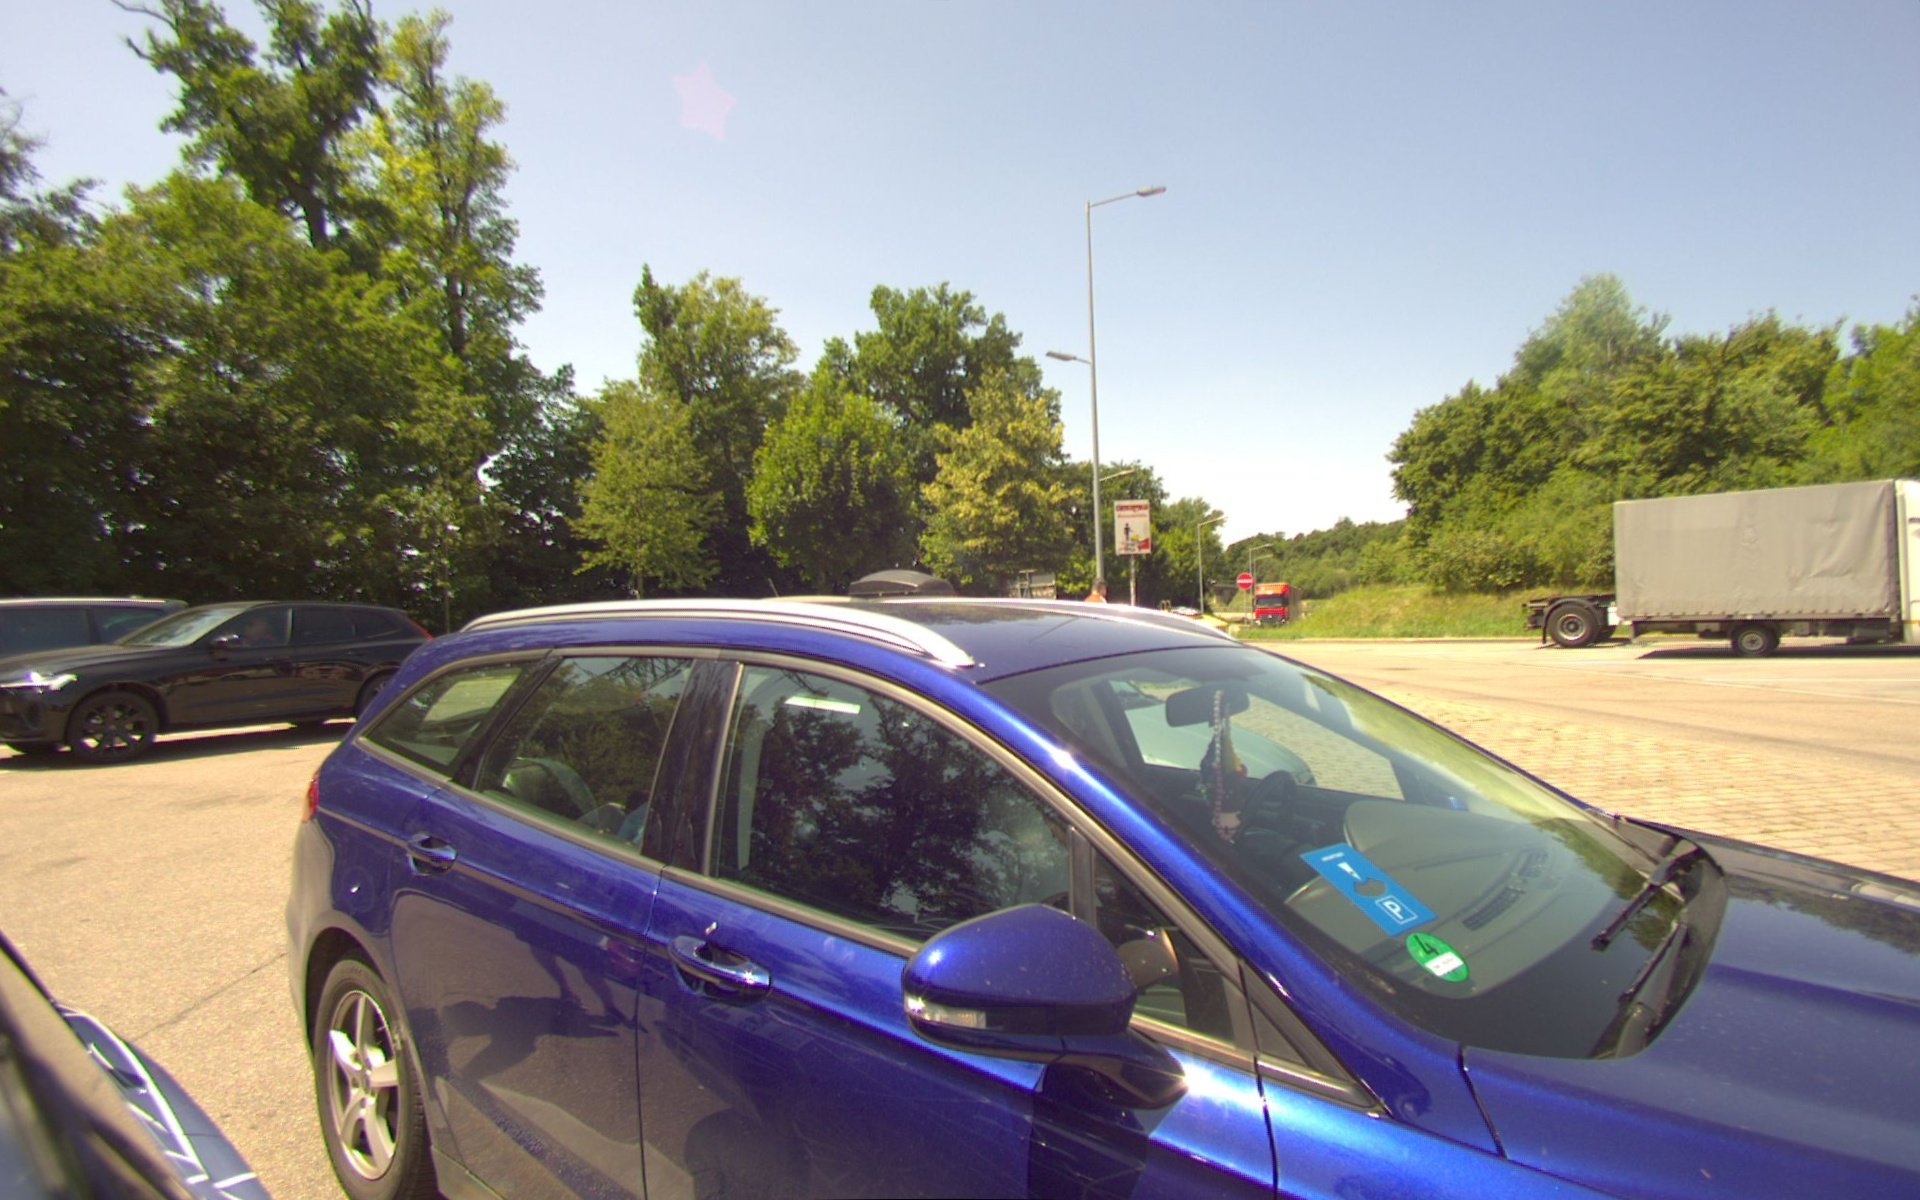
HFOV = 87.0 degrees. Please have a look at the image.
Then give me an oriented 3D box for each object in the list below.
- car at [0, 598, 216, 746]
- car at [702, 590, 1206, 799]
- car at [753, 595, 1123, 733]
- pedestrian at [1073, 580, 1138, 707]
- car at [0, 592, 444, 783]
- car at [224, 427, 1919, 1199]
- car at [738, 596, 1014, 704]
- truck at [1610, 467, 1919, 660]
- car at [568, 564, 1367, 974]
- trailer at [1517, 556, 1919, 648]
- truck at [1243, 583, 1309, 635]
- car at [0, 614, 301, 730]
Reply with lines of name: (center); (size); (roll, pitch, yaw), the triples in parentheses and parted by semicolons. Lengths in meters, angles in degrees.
car: (-11.945, 0.858, 12.317); (4.553, 1.725, 1.741); (0, -1, -41)
car: (-0.248, 0.749, 9.227); (4.490, 1.437, 1.754); (-3, -1, 40)
car: (-0.389, 0.774, 12.774); (4.485, 1.437, 1.756); (-3, -1, 36)
pedestrian: (2.082, 0.600, 14.435); (0.672, 1.746, 0.826); (-1, -1, 26)
car: (-8.617, 0.801, 11.601); (1.989, 1.725, 4.577); (-1, 0, 26)
car: (0.250, 0.661, 2.154); (4.490, 1.502, 1.851); (-3, 0, 40)
car: (-1.480, 0.825, 16.874); (4.485, 1.562, 1.756); (-3, -1, 36)
truck: (16.825, -0.655, 18.979); (7.295, 3.259, 2.709); (-4, -1, 43)
car: (-0.261, 0.694, 5.852); (4.490, 1.511, 1.754); (-3, -1, 40)
trailer: (17.251, 0.125, 23.407); (7.295, 1.701, 2.235); (-4, -1, 43)
truck: (28.129, 0.704, 89.469); (3.117, 4.150, 15.260); (-1, 0, 27)
car: (-12.599, 1.003, 15.482); (1.687, 1.515, 3.943); (-1, 0, 43)
